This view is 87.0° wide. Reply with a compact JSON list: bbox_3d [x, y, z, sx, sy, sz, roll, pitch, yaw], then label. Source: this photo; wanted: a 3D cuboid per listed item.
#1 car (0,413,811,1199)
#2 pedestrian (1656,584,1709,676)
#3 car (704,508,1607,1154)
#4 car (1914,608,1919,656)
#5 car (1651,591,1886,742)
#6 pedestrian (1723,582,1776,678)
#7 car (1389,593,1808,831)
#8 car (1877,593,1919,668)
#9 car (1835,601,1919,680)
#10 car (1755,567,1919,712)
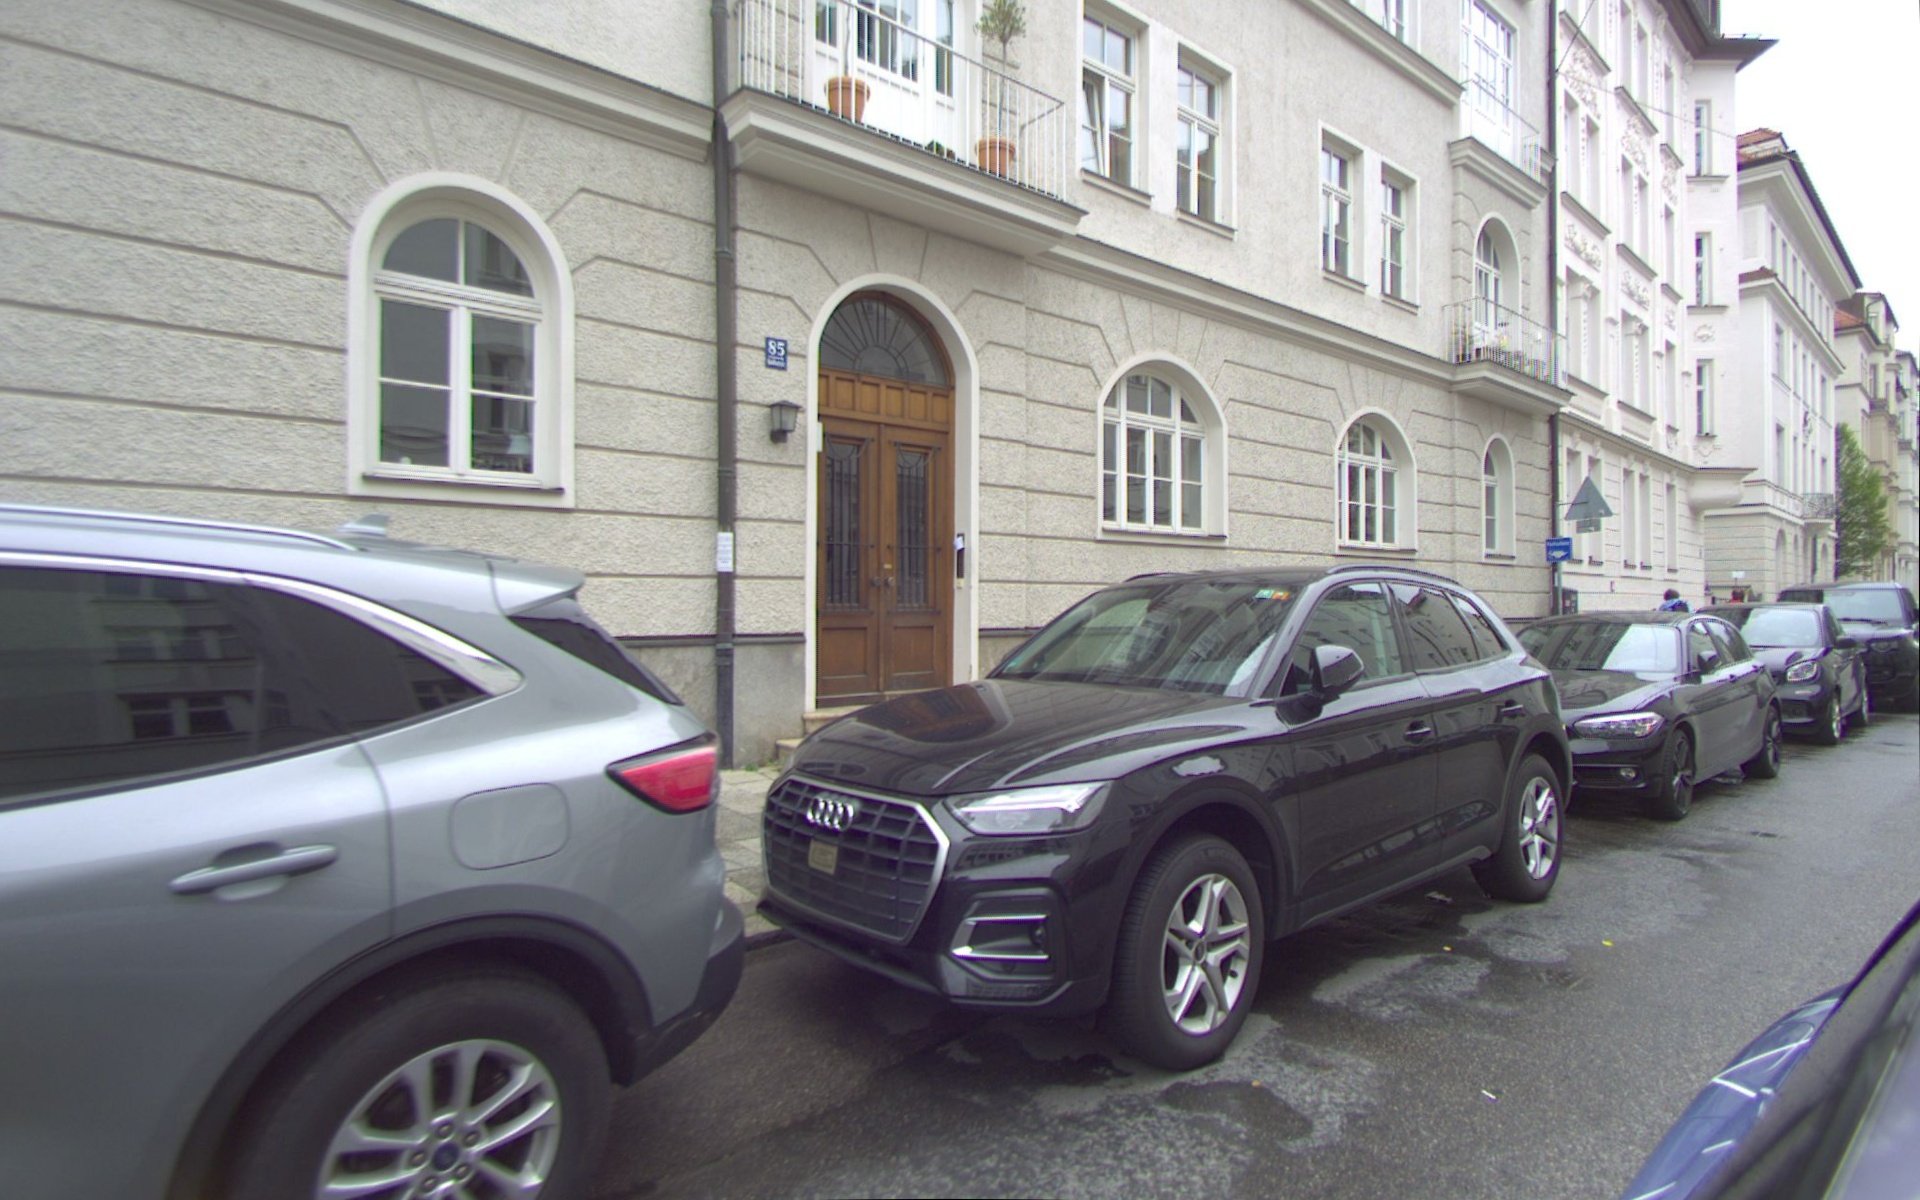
[{"bbox_3d":[-2.572,0.572,1.749,4.352,1.735,1.791,0,0,-43],"label":"car"},{"bbox_3d":[13.801,0.555,19.331,0.643,1.695,0.680,1,1,-45],"label":"pedestrian"},{"bbox_3d":[1.200,0.610,4.677,4.297,1.657,1.780,0,-1,-40],"label":"car"},{"bbox_3d":[30.534,0.951,31.039,3.933,1.413,1.613,0,-2,-44],"label":"car"},{"bbox_3d":[9.779,0.696,12.154,3.574,1.545,1.657,1,-1,-42],"label":"car"},{"bbox_3d":[14.955,0.552,19.169,0.692,1.750,0.703,1,0,-45],"label":"pedestrian"},{"bbox_3d":[5.395,0.710,8.339,4.125,1.489,1.710,0,0,-39],"label":"car"},{"bbox_3d":[22.356,0.671,23.211,3.934,1.608,1.708,1,-2,-45],"label":"car"},{"bbox_3d":[18.448,0.736,19.654,3.519,1.413,1.666,0,-2,-41],"label":"car"},{"bbox_3d":[13.823,0.548,15.425,4.634,1.910,1.912,0,-2,-43],"label":"car"}]
